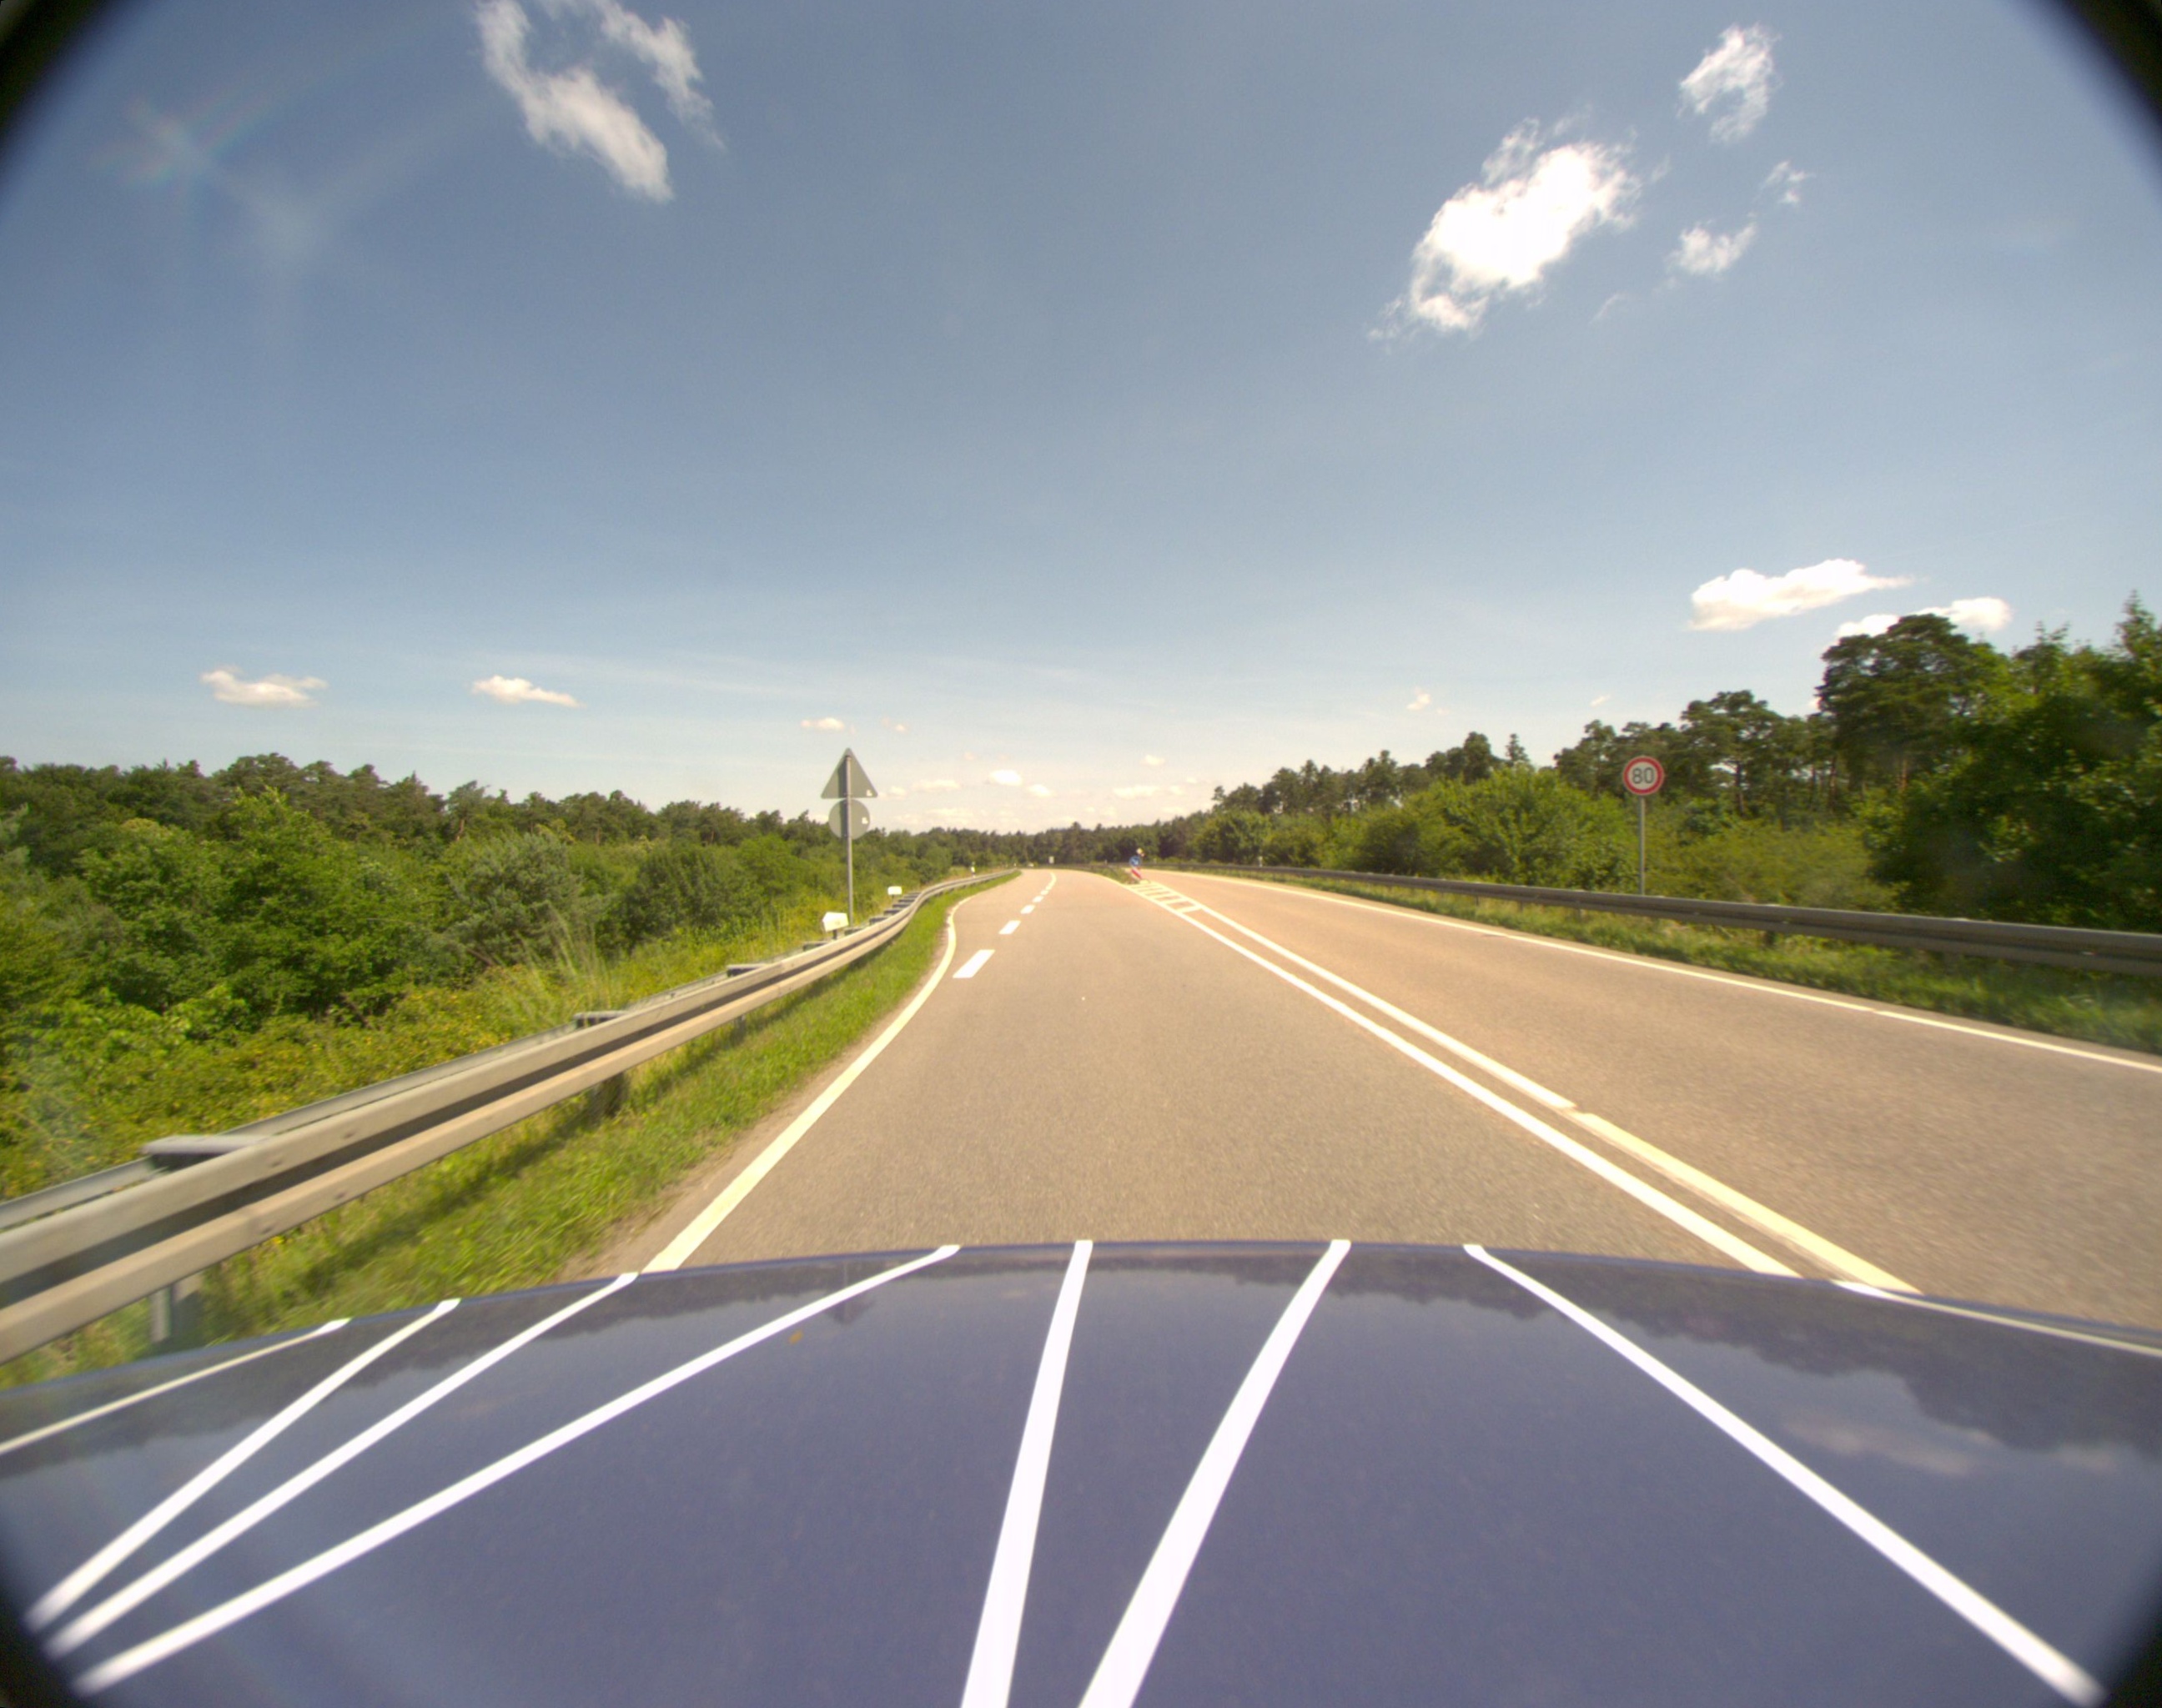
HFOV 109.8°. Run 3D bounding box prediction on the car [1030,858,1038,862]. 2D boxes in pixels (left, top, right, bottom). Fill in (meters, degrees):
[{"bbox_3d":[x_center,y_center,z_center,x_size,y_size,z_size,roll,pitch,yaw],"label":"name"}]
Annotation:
[{"bbox_3d":[-15.835,2.149,257.360,1.955,1.405,4.828,-1,0,-14],"label":"car"}]
